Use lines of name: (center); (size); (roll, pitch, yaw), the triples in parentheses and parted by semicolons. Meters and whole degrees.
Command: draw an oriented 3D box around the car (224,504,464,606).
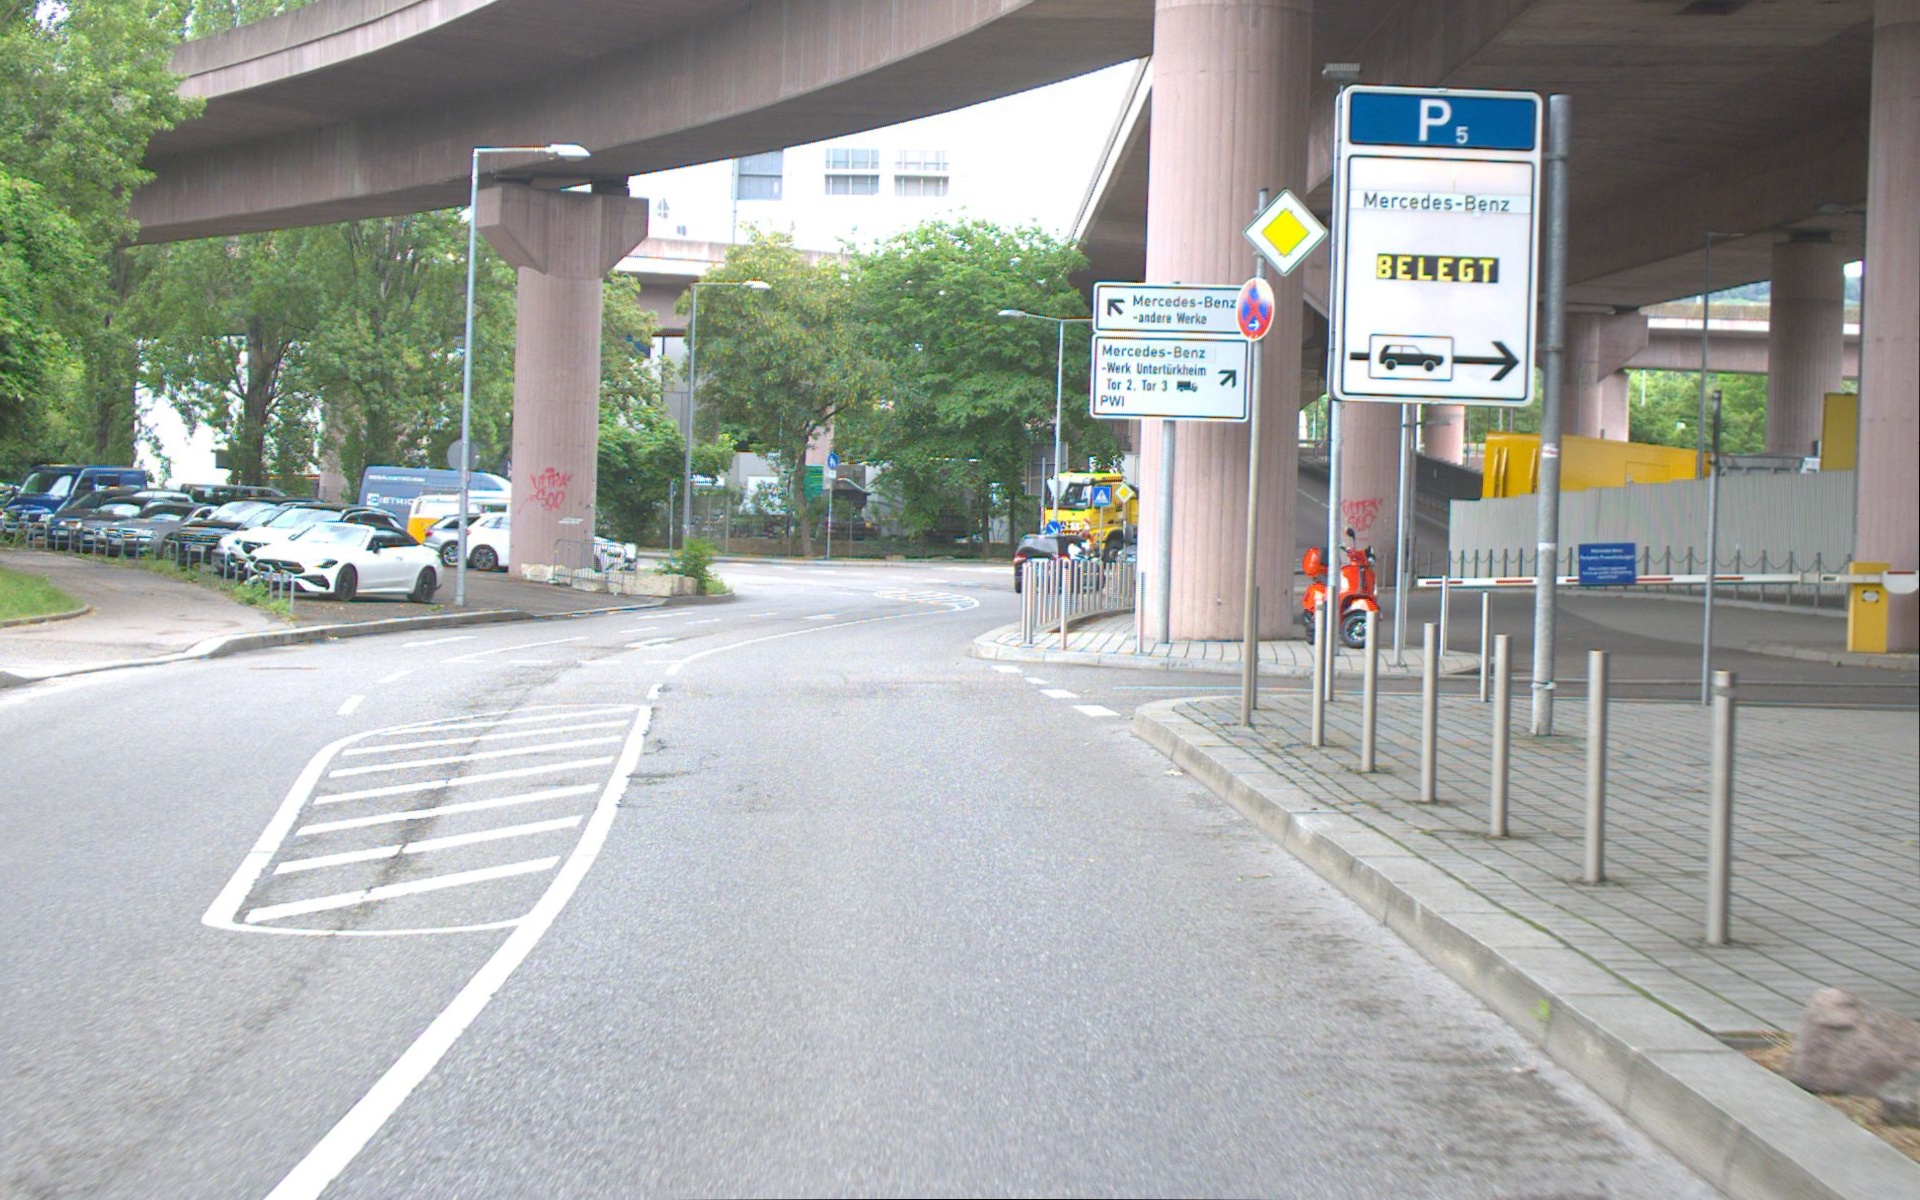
car: (-11.099, -0.788, 62.282); (1.996, 1.474, 4.823); (6, 0, 20)

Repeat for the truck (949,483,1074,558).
truck: (2.078, -3.340, 142.673); (2.914, 2.889, 6.561); (0, 3, -21)

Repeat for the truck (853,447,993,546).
truck: (-1.580, -4.302, 141.254); (3.065, 3.854, 8.051); (0, 3, -21)

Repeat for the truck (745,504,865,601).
truck: (-6.589, -1.993, 145.244); (3.065, 3.949, 6.925); (-1, 1, -20)

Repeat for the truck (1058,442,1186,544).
truck: (7.039, -4.760, 151.131); (3.064, 4.284, 8.052); (0, 3, -17)

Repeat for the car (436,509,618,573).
car: (-11.308, -1.542, 89.861); (4.246, 1.366, 1.999); (4, 2, 11)

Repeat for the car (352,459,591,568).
car: (-13.517, -2.409, 95.402); (6.175, 2.715, 2.368); (3, 1, 0)

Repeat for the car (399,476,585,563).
car: (-12.580, -2.170, 92.567); (4.557, 2.104, 1.850); (3, 1, 8)

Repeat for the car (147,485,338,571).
car: (-15.144, -1.506, 72.754); (1.859, 1.685, 4.159); (2, 1, 23)

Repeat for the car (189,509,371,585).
car: (-13.764, -1.066, 69.762); (1.789, 1.449, 3.742); (2, 1, 23)

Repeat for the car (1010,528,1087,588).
car: (2.553, -1.238, 100.500); (1.993, 1.673, 4.561); (2, 1, -1)

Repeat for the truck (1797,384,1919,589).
truck: (22.865, -2.528, 78.595); (3.145, 4.428, 9.703); (1, 1, 41)

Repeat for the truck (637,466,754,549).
truck: (-12.507, -4.384, 161.803); (3.054, 3.606, 7.918); (0, 3, -23)

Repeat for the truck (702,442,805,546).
truck: (-10.003, -5.154, 165.487); (3.202, 4.763, 8.052); (0, 3, -16)

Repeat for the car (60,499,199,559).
car: (-20.579, -1.760, 85.328); (1.645, 1.436, 3.732); (1, 1, 18)

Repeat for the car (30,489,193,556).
car: (-21.885, -2.003, 88.810); (1.898, 1.670, 4.149); (1, 1, 26)

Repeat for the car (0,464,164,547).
car: (-24.642, -2.633, 96.341); (2.119, 2.247, 5.013); (1, 1, 21)

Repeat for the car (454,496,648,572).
car: (-10.309, -1.666, 86.780); (4.383, 1.600, 1.953); (4, 2, 13)

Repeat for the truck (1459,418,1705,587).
truck: (19.075, -2.916, 105.048); (3.145, 4.900, 8.696); (2, 1, 42)

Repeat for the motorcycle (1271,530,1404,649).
motorcycle: (4.527, -0.147, 41.411); (0.795, 1.362, 2.130); (0, 2, -17)

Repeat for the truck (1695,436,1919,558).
truck: (22.711, -2.685, 88.861); (3.145, 2.934, 8.696); (-2, 1, 43)

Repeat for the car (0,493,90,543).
car: (-27.883, -2.411, 101.130); (1.996, 1.430, 4.640); (1, 1, 24)

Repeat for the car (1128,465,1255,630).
car: (3.894, -0.898, 57.476); (1.994, 2.604, 6.074); (1, 1, 4)

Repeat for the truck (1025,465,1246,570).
truck: (6.385, -3.027, 124.060); (8.222, 3.469, 2.935); (-2, 7, -42)

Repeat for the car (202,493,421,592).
car: (-12.424, -1.088, 66.154); (1.996, 1.577, 4.395); (6, 1, 21)

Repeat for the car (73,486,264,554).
car: (-18.941, -1.918, 82.486); (1.859, 1.482, 4.883); (4, 3, 23)

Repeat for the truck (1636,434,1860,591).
truck: (25.846, -2.814, 112.503); (3.145, 4.886, 8.696); (2, 1, 42)
